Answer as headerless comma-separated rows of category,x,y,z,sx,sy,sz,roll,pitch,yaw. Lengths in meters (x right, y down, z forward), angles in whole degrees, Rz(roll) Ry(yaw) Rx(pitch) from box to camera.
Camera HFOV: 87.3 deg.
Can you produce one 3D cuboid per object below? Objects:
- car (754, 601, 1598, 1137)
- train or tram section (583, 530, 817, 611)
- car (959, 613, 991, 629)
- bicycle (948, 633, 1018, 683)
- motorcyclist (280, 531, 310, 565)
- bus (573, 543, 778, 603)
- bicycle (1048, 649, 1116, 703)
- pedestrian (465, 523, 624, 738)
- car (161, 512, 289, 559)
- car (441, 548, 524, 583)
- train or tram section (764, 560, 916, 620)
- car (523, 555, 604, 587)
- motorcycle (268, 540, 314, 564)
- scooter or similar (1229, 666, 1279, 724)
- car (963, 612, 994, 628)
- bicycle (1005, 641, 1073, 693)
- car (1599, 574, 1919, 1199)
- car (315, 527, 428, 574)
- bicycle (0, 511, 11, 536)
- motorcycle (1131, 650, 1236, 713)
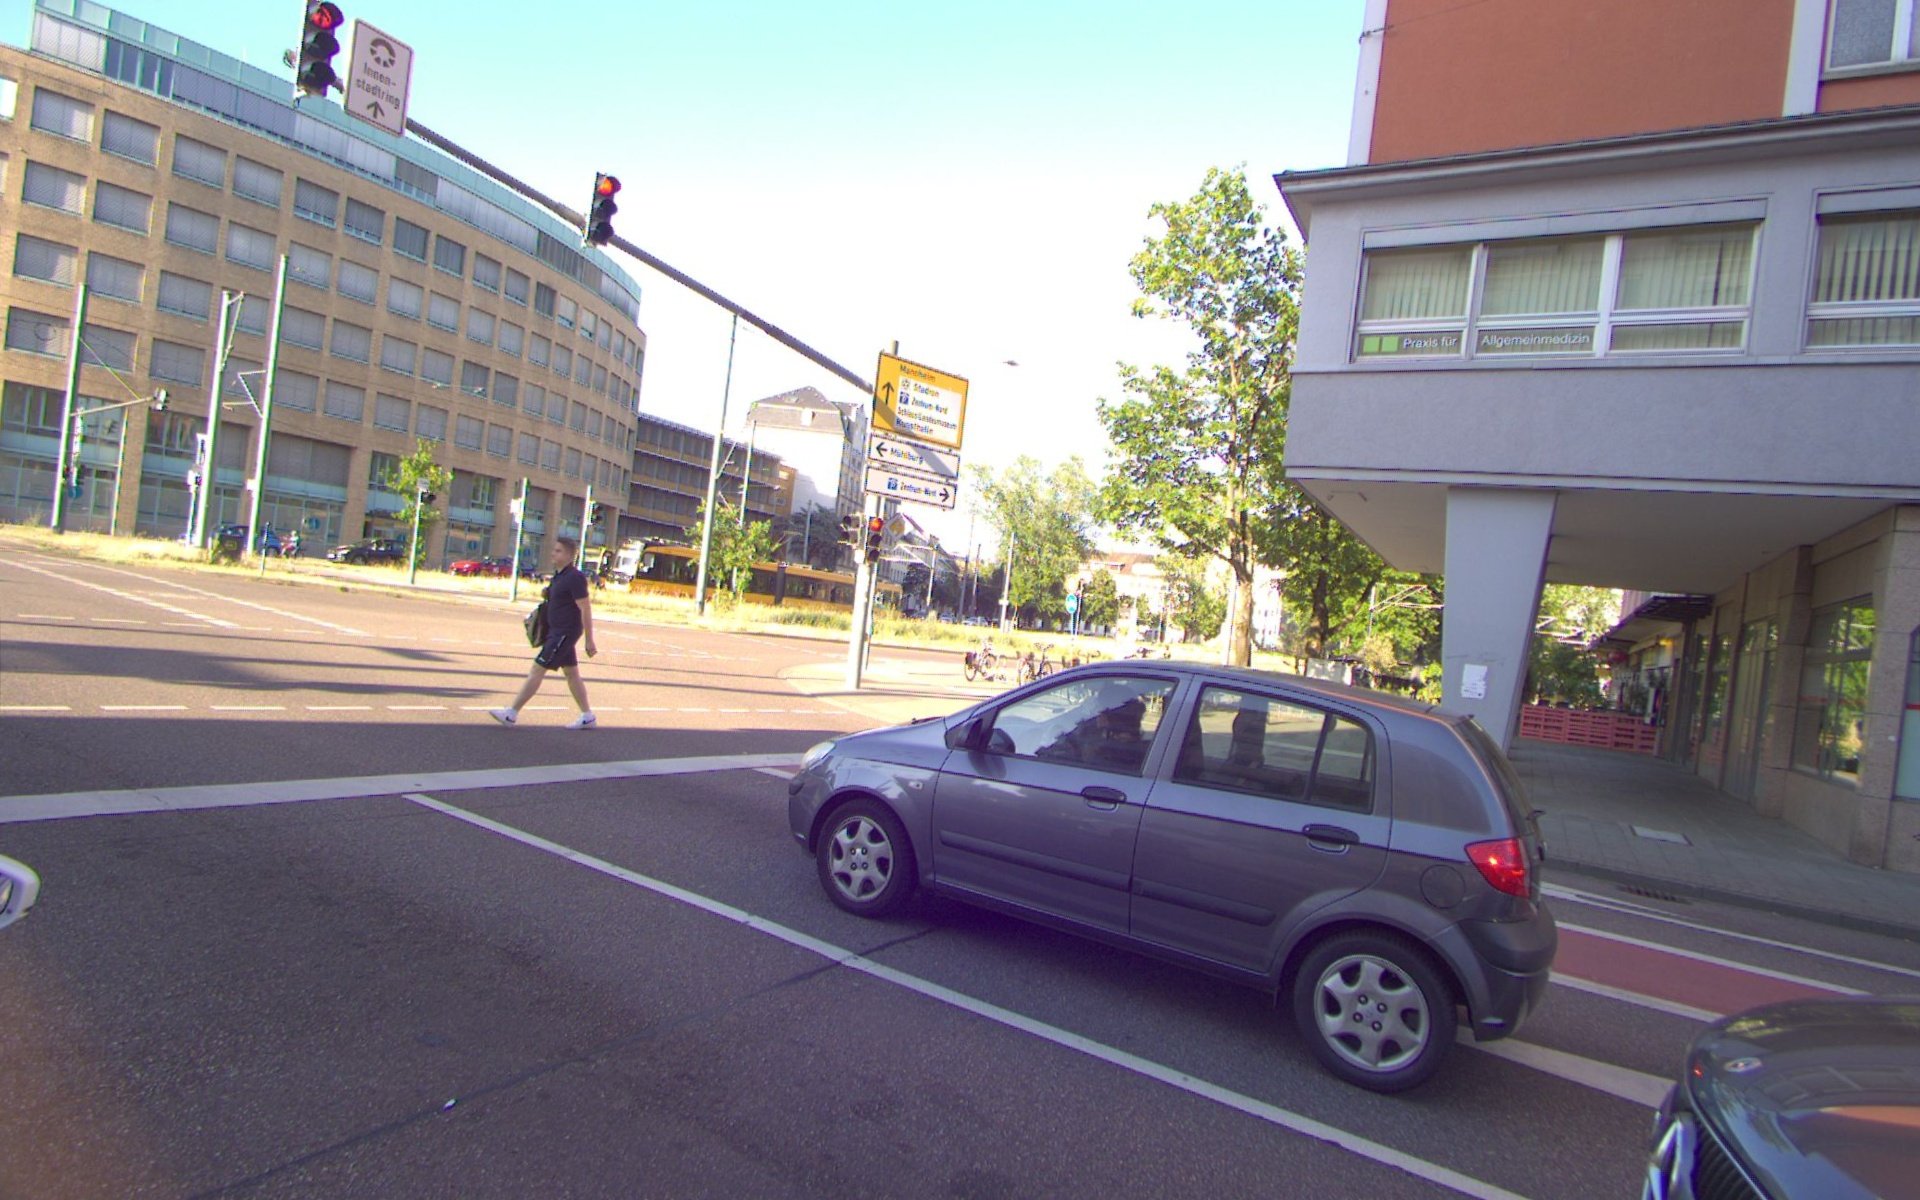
car,0.941,0.992,5.027,3.586,1.463,1.588,7,-2,31
train or tram section,-15.541,-1.575,63.174,3.635,3.215,17.142,7,-1,27
car,1.912,2.699,127.571,1.971,1.609,3.983,7,0,40
bicycle,0.597,1.453,25.125,0.730,1.130,2.089,7,0,29
motorcyclist,-33.673,-2.628,50.938,0.789,1.605,0.849,7,0,32
bus,-19.660,-1.720,72.260,2.380,2.466,18.213,7,-1,26
bicycle,2.902,1.773,23.697,0.730,1.130,2.089,7,0,29
pedestrian,-3.725,0.283,9.056,0.659,1.790,0.944,7,1,35
car,-33.678,-2.930,46.222,1.965,1.520,4.238,7,-1,28
car,-25.766,-1.846,54.379,1.693,1.358,3.613,7,-1,31
train or tram section,-8.853,-0.550,79.906,3.630,3.215,19.965,7,-1,18
car,-23.303,-1.685,59.222,1.966,1.362,3.995,7,-1,29
motorcycle,-33.909,-2.427,51.015,0.515,0.965,1.820,7,0,30
scooter or similar,6.822,2.210,23.318,1.130,1.261,0.424,5,1,-39
car,2.438,2.674,133.225,1.971,1.609,3.983,7,0,40
bicycle,1.943,1.615,24.421,0.730,1.130,2.089,7,0,29
car,3.100,1.093,0.594,4.402,1.652,1.787,7,0,30
car,-28.615,-2.385,49.011,1.967,1.634,4.234,7,-1,32
bicycle,-39.994,-3.243,40.978,0.525,0.996,1.822,7,0,34
motorcycle,5.708,2.056,25.708,2.361,1.256,0.855,7,0,28
